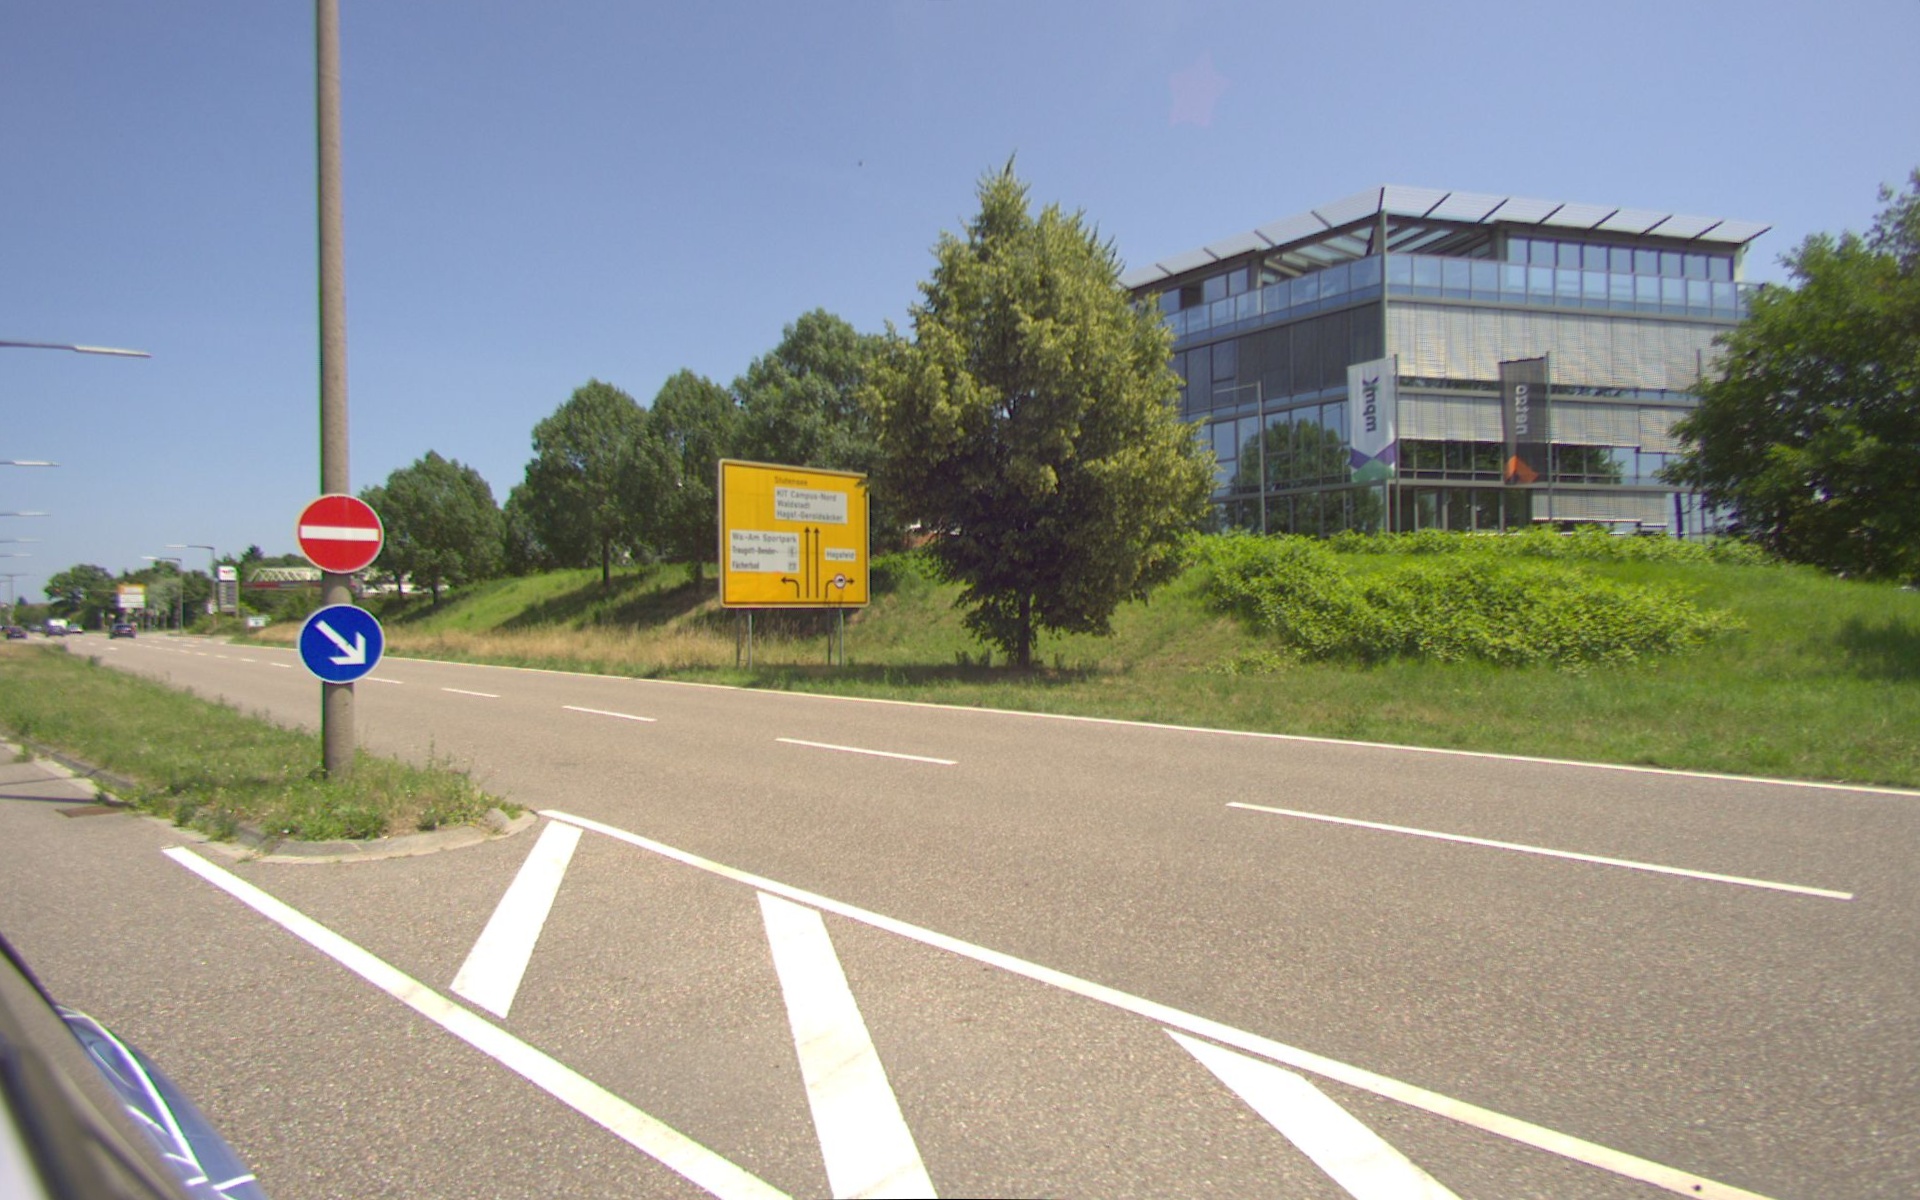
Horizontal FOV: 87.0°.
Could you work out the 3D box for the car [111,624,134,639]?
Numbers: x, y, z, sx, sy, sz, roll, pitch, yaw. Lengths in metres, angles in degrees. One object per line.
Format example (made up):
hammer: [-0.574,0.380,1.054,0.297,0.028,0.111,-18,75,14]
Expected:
car: [-81.212,3.006,98.110,1.598,1.364,3.519,0,0,-42]

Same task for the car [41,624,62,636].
car: [-114.433,3.765,127.411,3.600,1.405,1.597,0,0,42]

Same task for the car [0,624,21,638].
car: [-107.700,3.489,114.654,3.600,1.405,1.597,0,0,42]

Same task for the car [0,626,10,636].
car: [-139.990,4.513,147.708,3.600,1.405,1.597,0,0,42]

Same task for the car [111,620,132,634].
car: [-107.741,3.464,130.029,3.820,1.598,1.630,0,0,44]
